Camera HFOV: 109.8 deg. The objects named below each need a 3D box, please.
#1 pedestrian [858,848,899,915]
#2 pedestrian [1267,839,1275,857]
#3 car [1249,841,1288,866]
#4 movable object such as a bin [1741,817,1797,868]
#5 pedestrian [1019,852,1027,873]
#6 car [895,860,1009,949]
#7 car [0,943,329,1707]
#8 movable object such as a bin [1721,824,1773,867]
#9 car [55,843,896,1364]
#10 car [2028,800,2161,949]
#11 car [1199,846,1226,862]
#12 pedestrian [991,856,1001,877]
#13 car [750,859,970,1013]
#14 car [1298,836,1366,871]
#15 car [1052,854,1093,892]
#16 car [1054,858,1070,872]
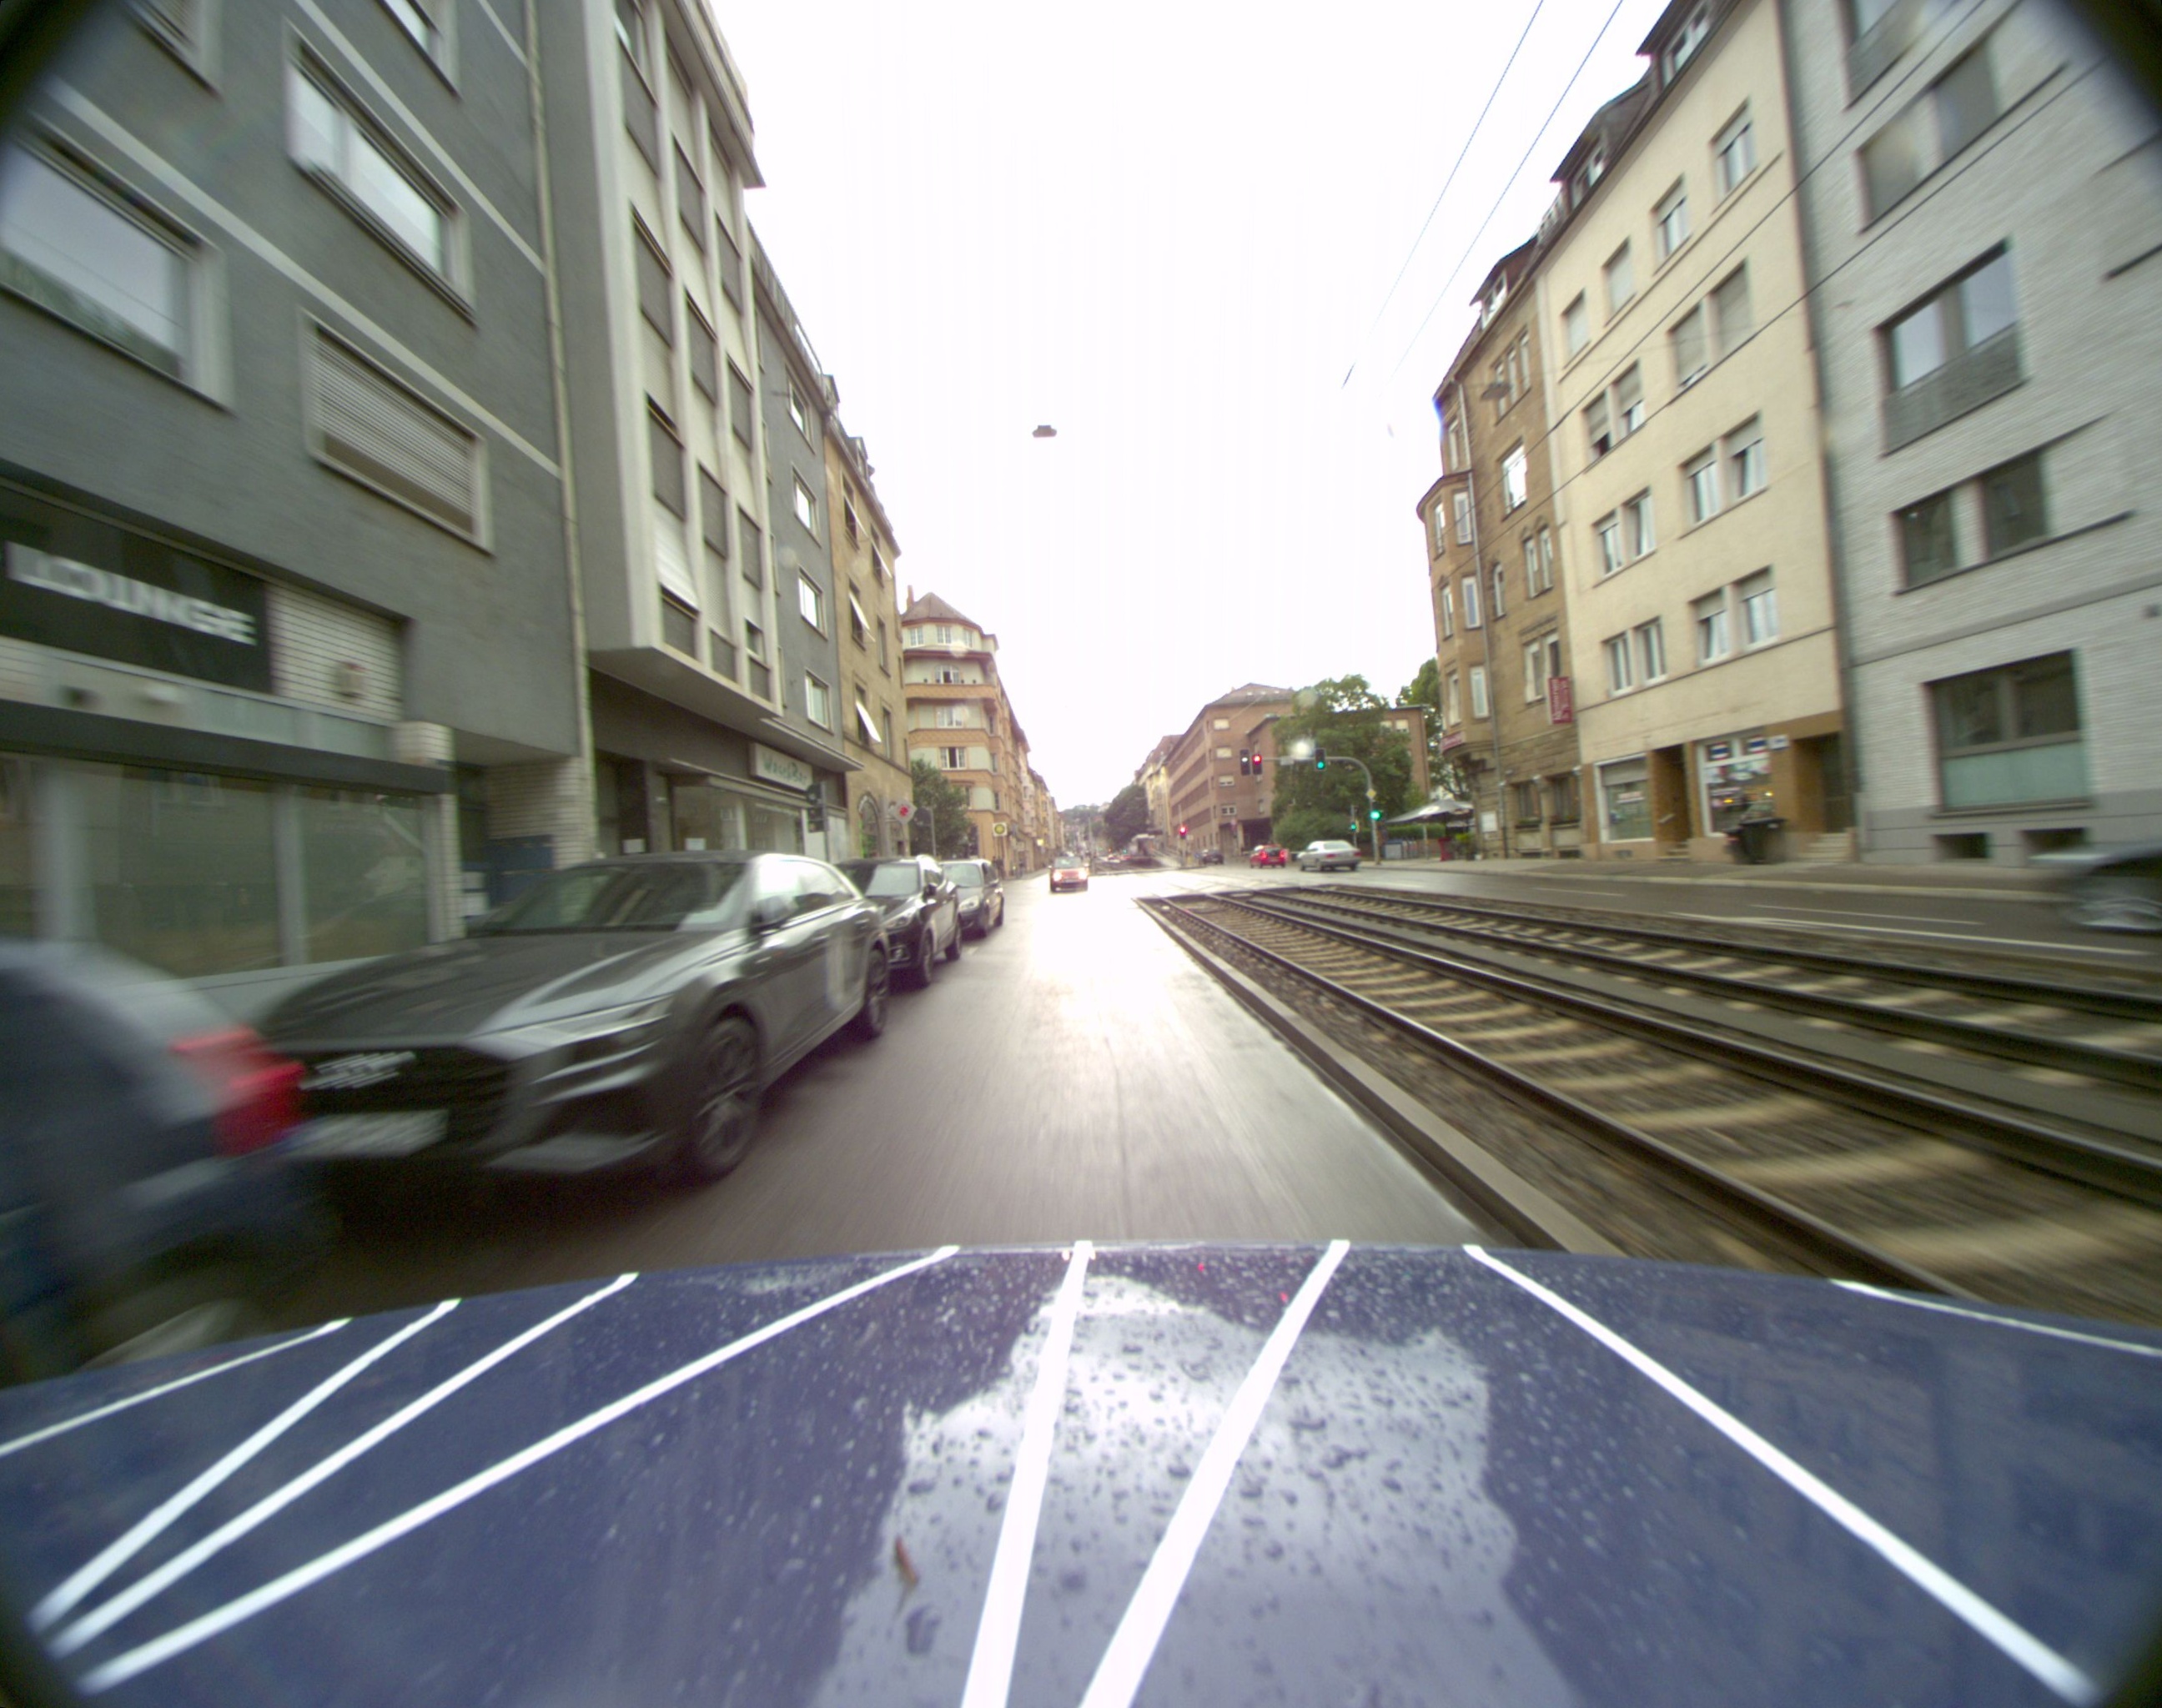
[{"bbox_3d":[-5.618,0.745,21.120,0.852,1.807,0.847,-2,1,0],"label":"pedestrian"},{"bbox_3d":[18.476,-0.614,73.850,0.623,1.736,0.464,-1,1,-3],"label":"pedestrian"},{"bbox_3d":[12.033,-0.028,48.997,1.631,1.442,3.387,-3,0,0],"label":"car"},{"bbox_3d":[15.742,-0.267,17.392,0.631,1.074,0.563,-8,1,0],"label":"movable object such as a bin"},{"bbox_3d":[-4.586,0.649,60.157,0.437,1.642,0.579,-3,1,-1],"label":"pedestrian"},{"bbox_3d":[-2.674,0.972,16.752,1.715,1.604,4.518,-2,0,0],"label":"car"},{"bbox_3d":[-2.915,1.021,0.177,1.696,1.474,3.928,-2,0,-4],"label":"car"},{"bbox_3d":[15.810,-0.206,18.046,0.631,0.922,0.563,-8,1,0],"label":"movable object such as a bin"},{"bbox_3d":[-2.696,0.880,4.986,1.797,1.750,4.565,-3,0,-1],"label":"car"},{"bbox_3d":[11.469,0.163,5.956,2.093,1.449,4.860,-2,0,2],"label":"car"},{"bbox_3d":[11.913,-0.006,69.069,1.781,1.328,3.945,-3,0,0],"label":"car"},{"bbox_3d":[-6.317,0.922,56.540,0.579,1.563,0.438,-3,1,-1],"label":"pedestrian"},{"bbox_3d":[-2.802,0.938,10.700,1.822,1.645,4.250,-2,0,0],"label":"car"},{"bbox_3d":[11.889,-0.044,36.354,1.717,1.452,4.643,-3,0,1],"label":"car"},{"bbox_3d":[-0.380,0.809,34.751,1.683,1.531,4.018,-3,0,0],"label":"car"},{"bbox_3d":[-2.840,1.648,114.202,2.135,2.002,4.328,-3,0,0],"label":"car"}]
